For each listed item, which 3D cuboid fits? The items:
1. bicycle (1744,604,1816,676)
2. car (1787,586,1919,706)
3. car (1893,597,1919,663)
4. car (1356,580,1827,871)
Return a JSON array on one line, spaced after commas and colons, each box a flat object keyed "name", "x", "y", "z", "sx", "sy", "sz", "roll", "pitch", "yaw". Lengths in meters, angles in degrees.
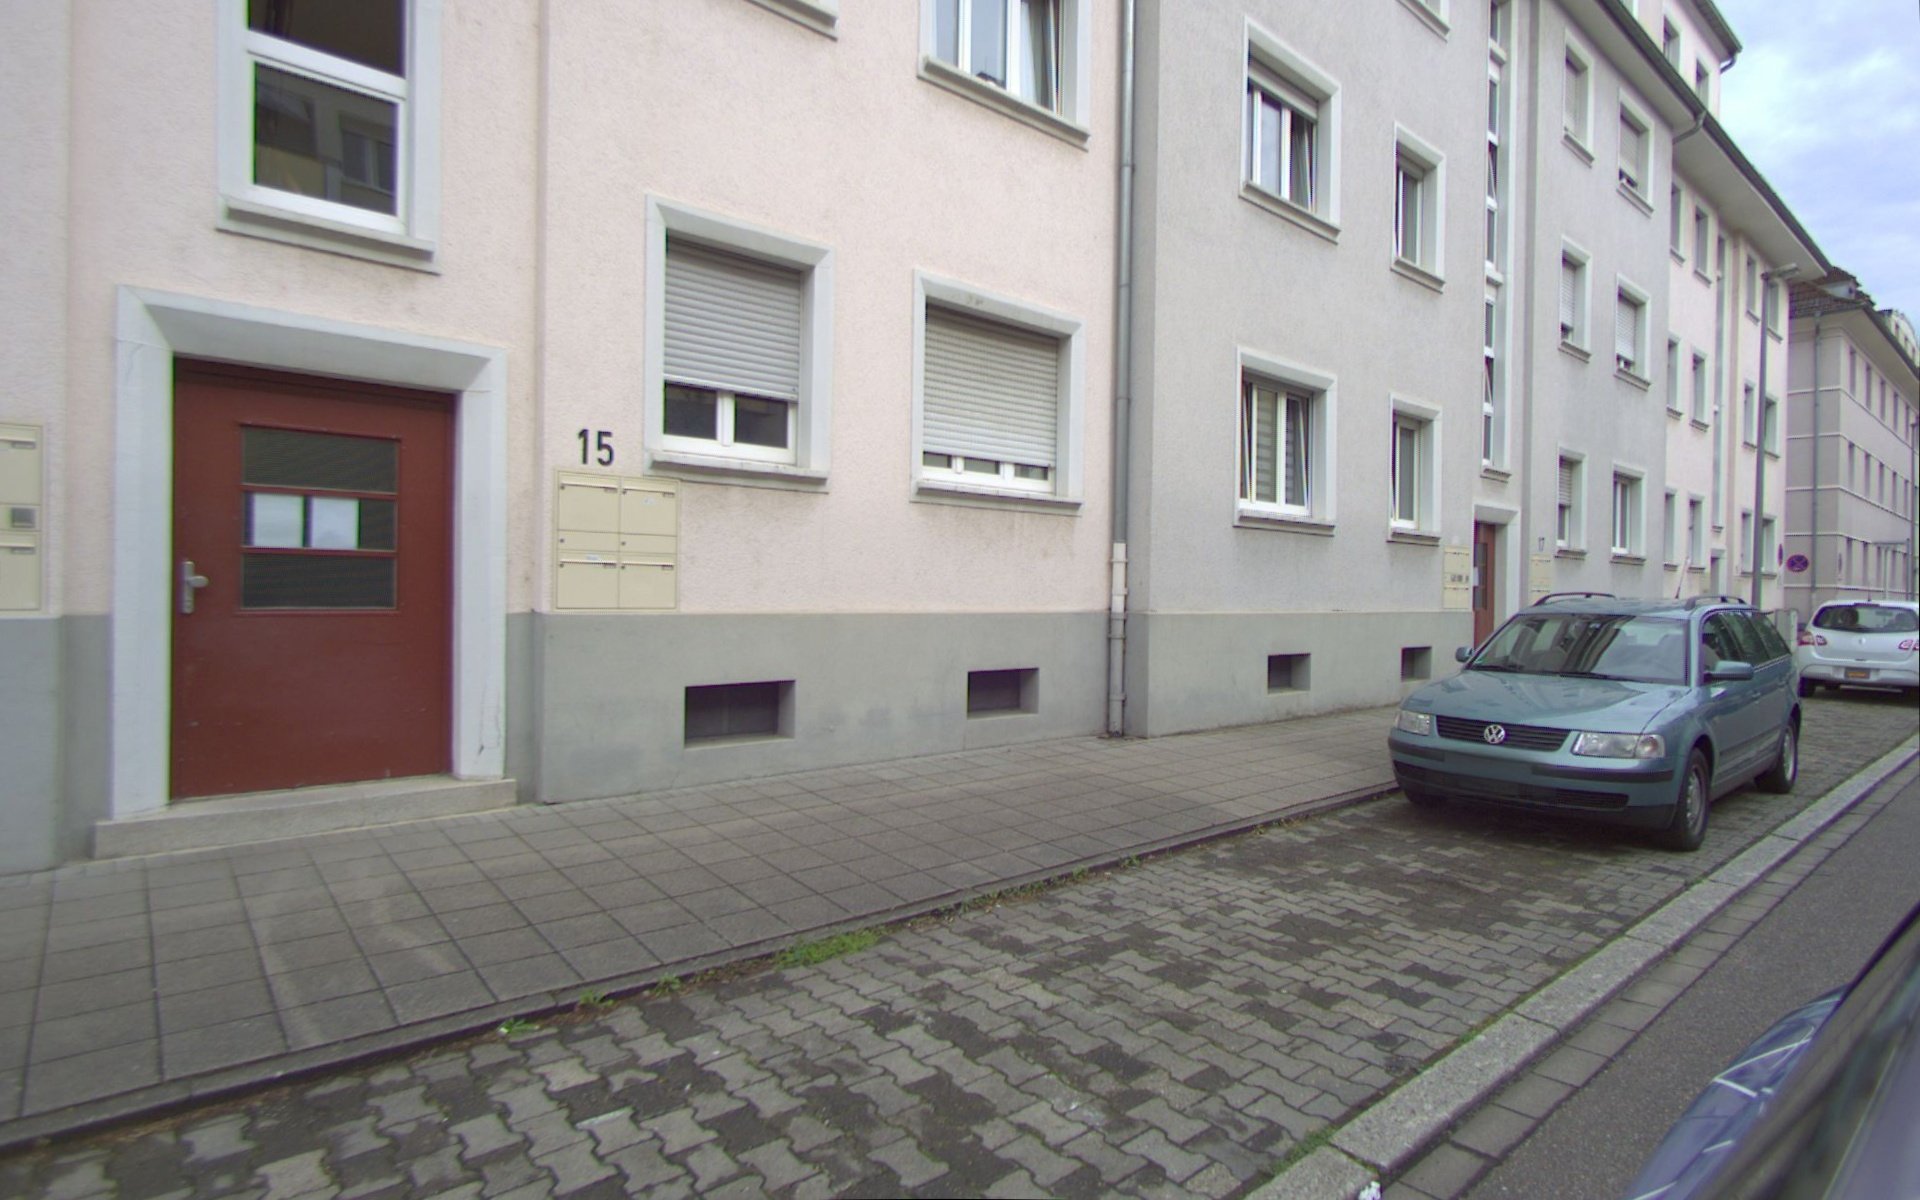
[{"name": "bicycle", "x": 14.247, "y": 0.659, "z": 17.567, "sx": 2.088, "sy": 1.154, "sz": 0.606, "roll": 0, "pitch": 1, "yaw": -41}, {"name": "car", "x": 14.290, "y": 0.633, "z": 15.529, "sx": 3.737, "sy": 1.619, "sz": 1.787, "roll": 0, "pitch": 1, "yaw": -40}, {"name": "car", "x": 22.761, "y": 0.678, "z": 23.079, "sx": 3.867, "sy": 1.427, "sz": 1.757, "roll": 0, "pitch": 1, "yaw": -41}, {"name": "car", "x": 4.704, "y": 0.638, "z": 7.267, "sx": 4.190, "sy": 1.487, "sz": 1.728, "roll": 0, "pitch": 1, "yaw": -41}]
